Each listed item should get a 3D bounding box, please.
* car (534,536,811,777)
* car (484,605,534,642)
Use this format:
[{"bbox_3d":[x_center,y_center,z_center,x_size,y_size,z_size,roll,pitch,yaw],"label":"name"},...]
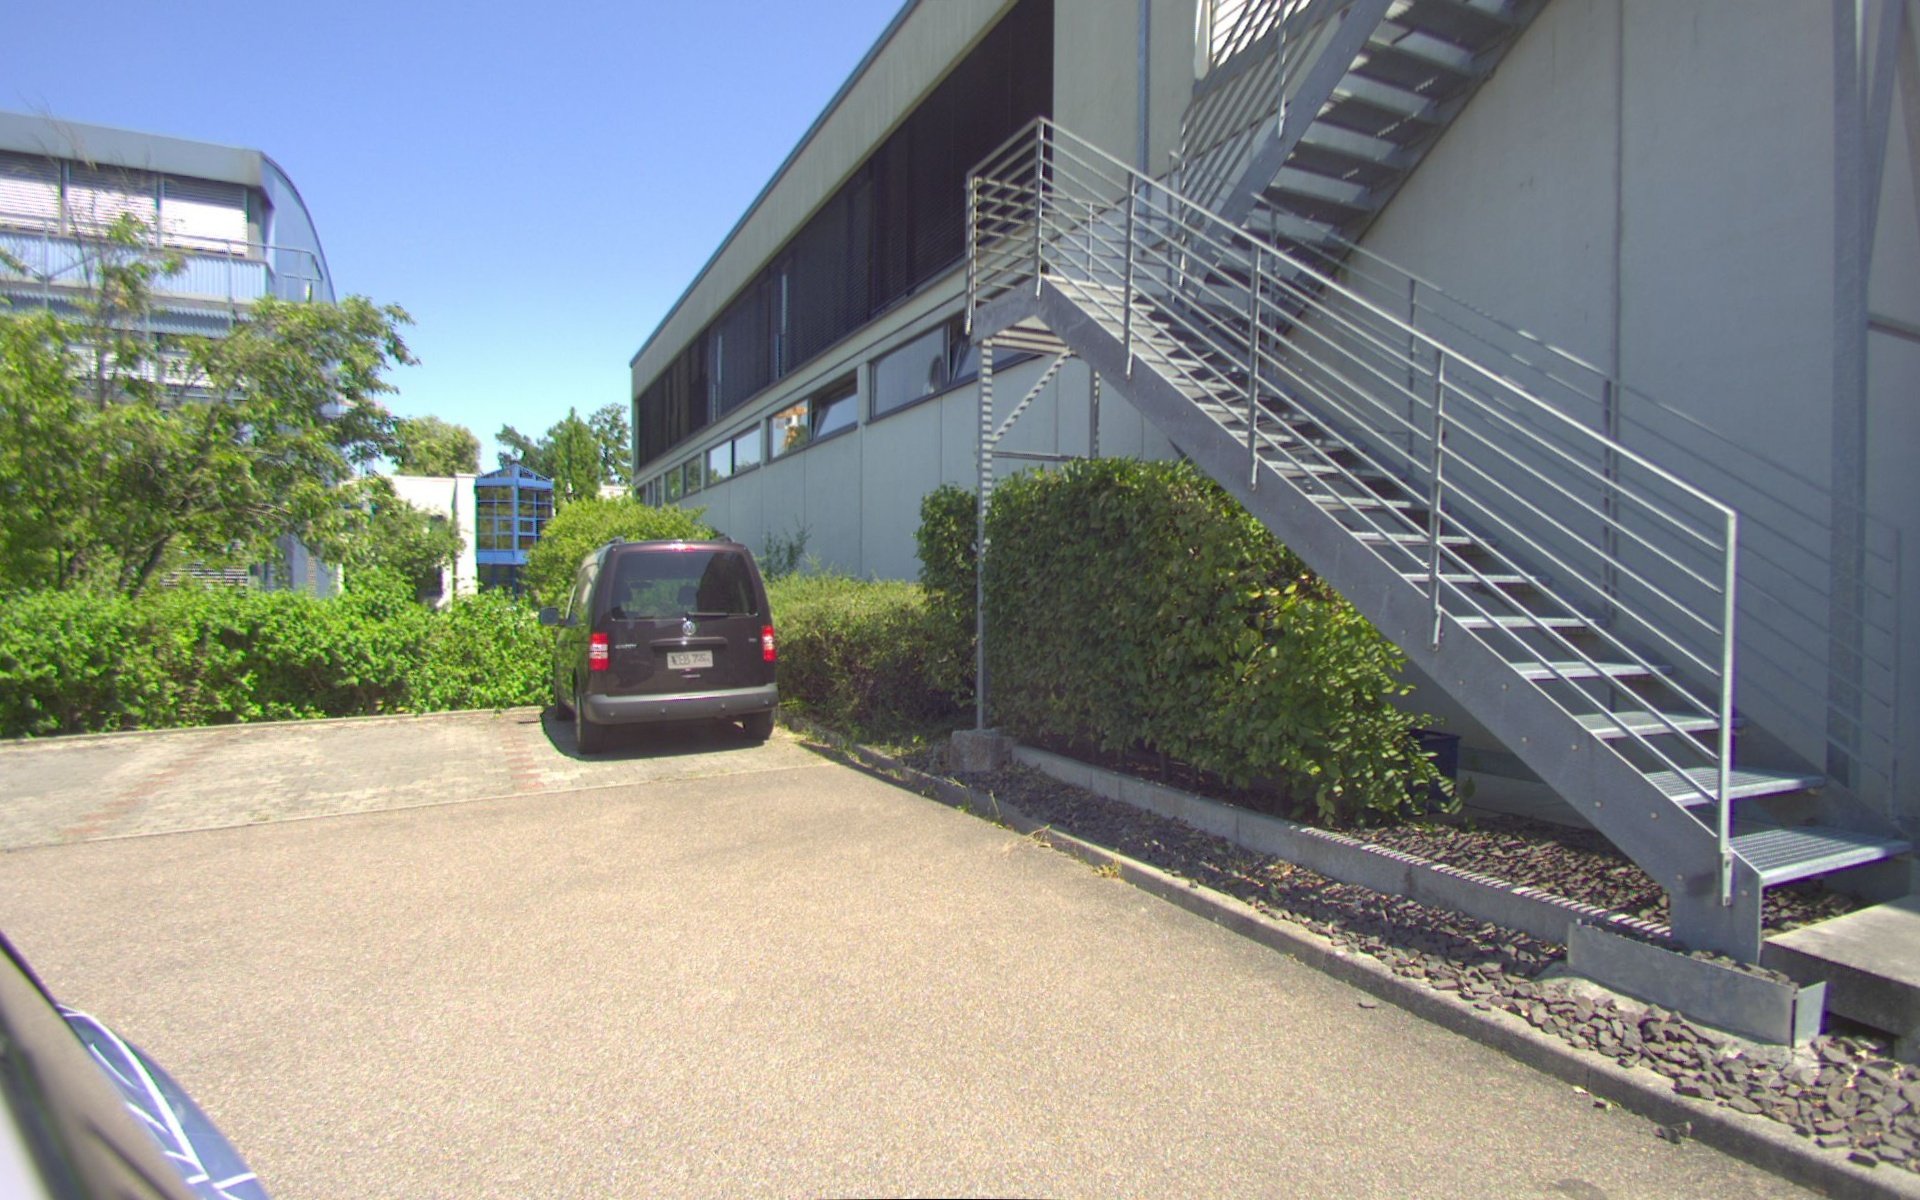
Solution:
[{"bbox_3d":[-3.087,0.412,10.174,1.836,1.874,4.242,-1,1,-27],"label":"car"},{"bbox_3d":[-21.772,1.096,48.797,1.806,1.579,4.013,-1,2,-30],"label":"car"}]
